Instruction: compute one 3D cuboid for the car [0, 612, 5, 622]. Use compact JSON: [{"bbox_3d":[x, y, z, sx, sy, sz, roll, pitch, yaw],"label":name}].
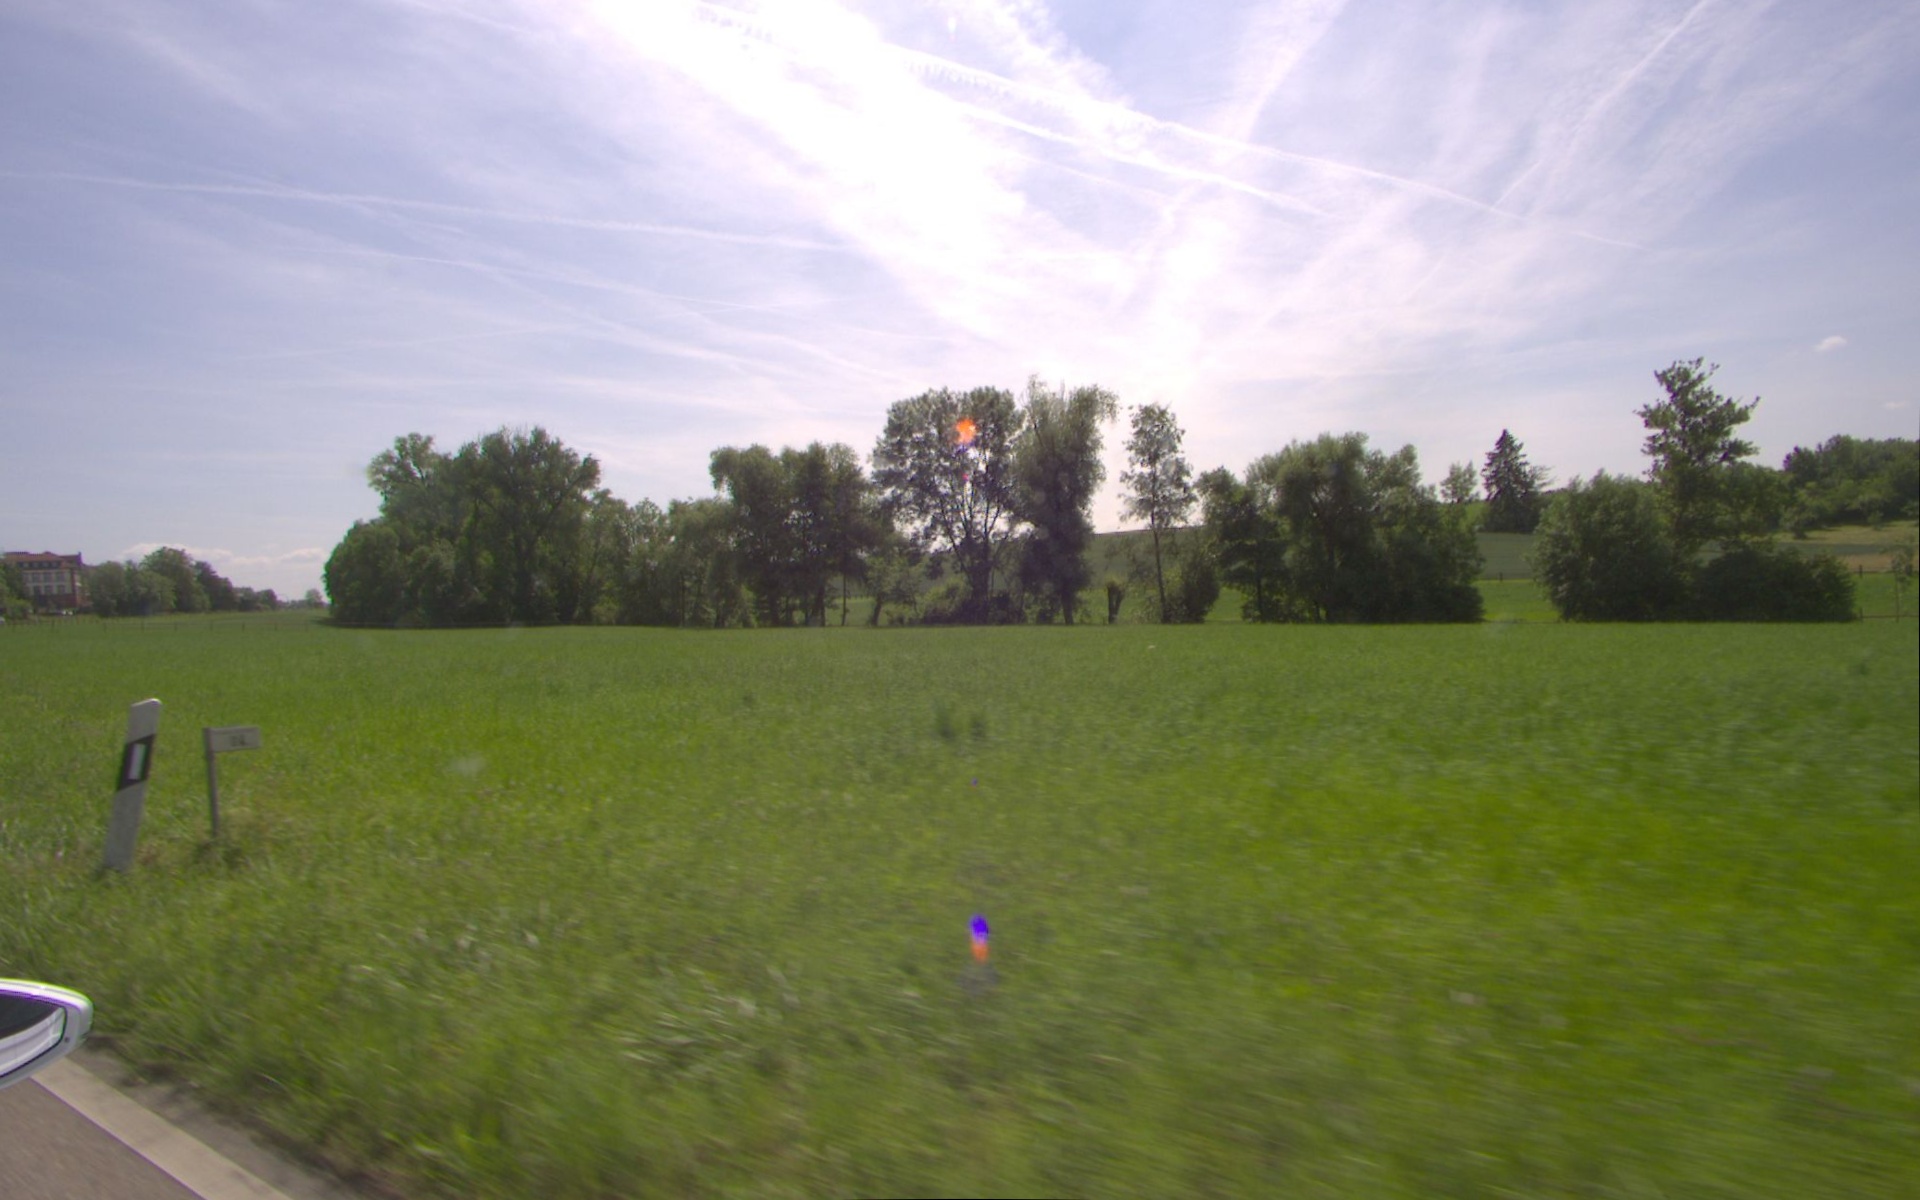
[{"bbox_3d":[-157.248,2.771,162.876,1.734,1.555,4.208,-1,0,-28],"label":"car"}]
